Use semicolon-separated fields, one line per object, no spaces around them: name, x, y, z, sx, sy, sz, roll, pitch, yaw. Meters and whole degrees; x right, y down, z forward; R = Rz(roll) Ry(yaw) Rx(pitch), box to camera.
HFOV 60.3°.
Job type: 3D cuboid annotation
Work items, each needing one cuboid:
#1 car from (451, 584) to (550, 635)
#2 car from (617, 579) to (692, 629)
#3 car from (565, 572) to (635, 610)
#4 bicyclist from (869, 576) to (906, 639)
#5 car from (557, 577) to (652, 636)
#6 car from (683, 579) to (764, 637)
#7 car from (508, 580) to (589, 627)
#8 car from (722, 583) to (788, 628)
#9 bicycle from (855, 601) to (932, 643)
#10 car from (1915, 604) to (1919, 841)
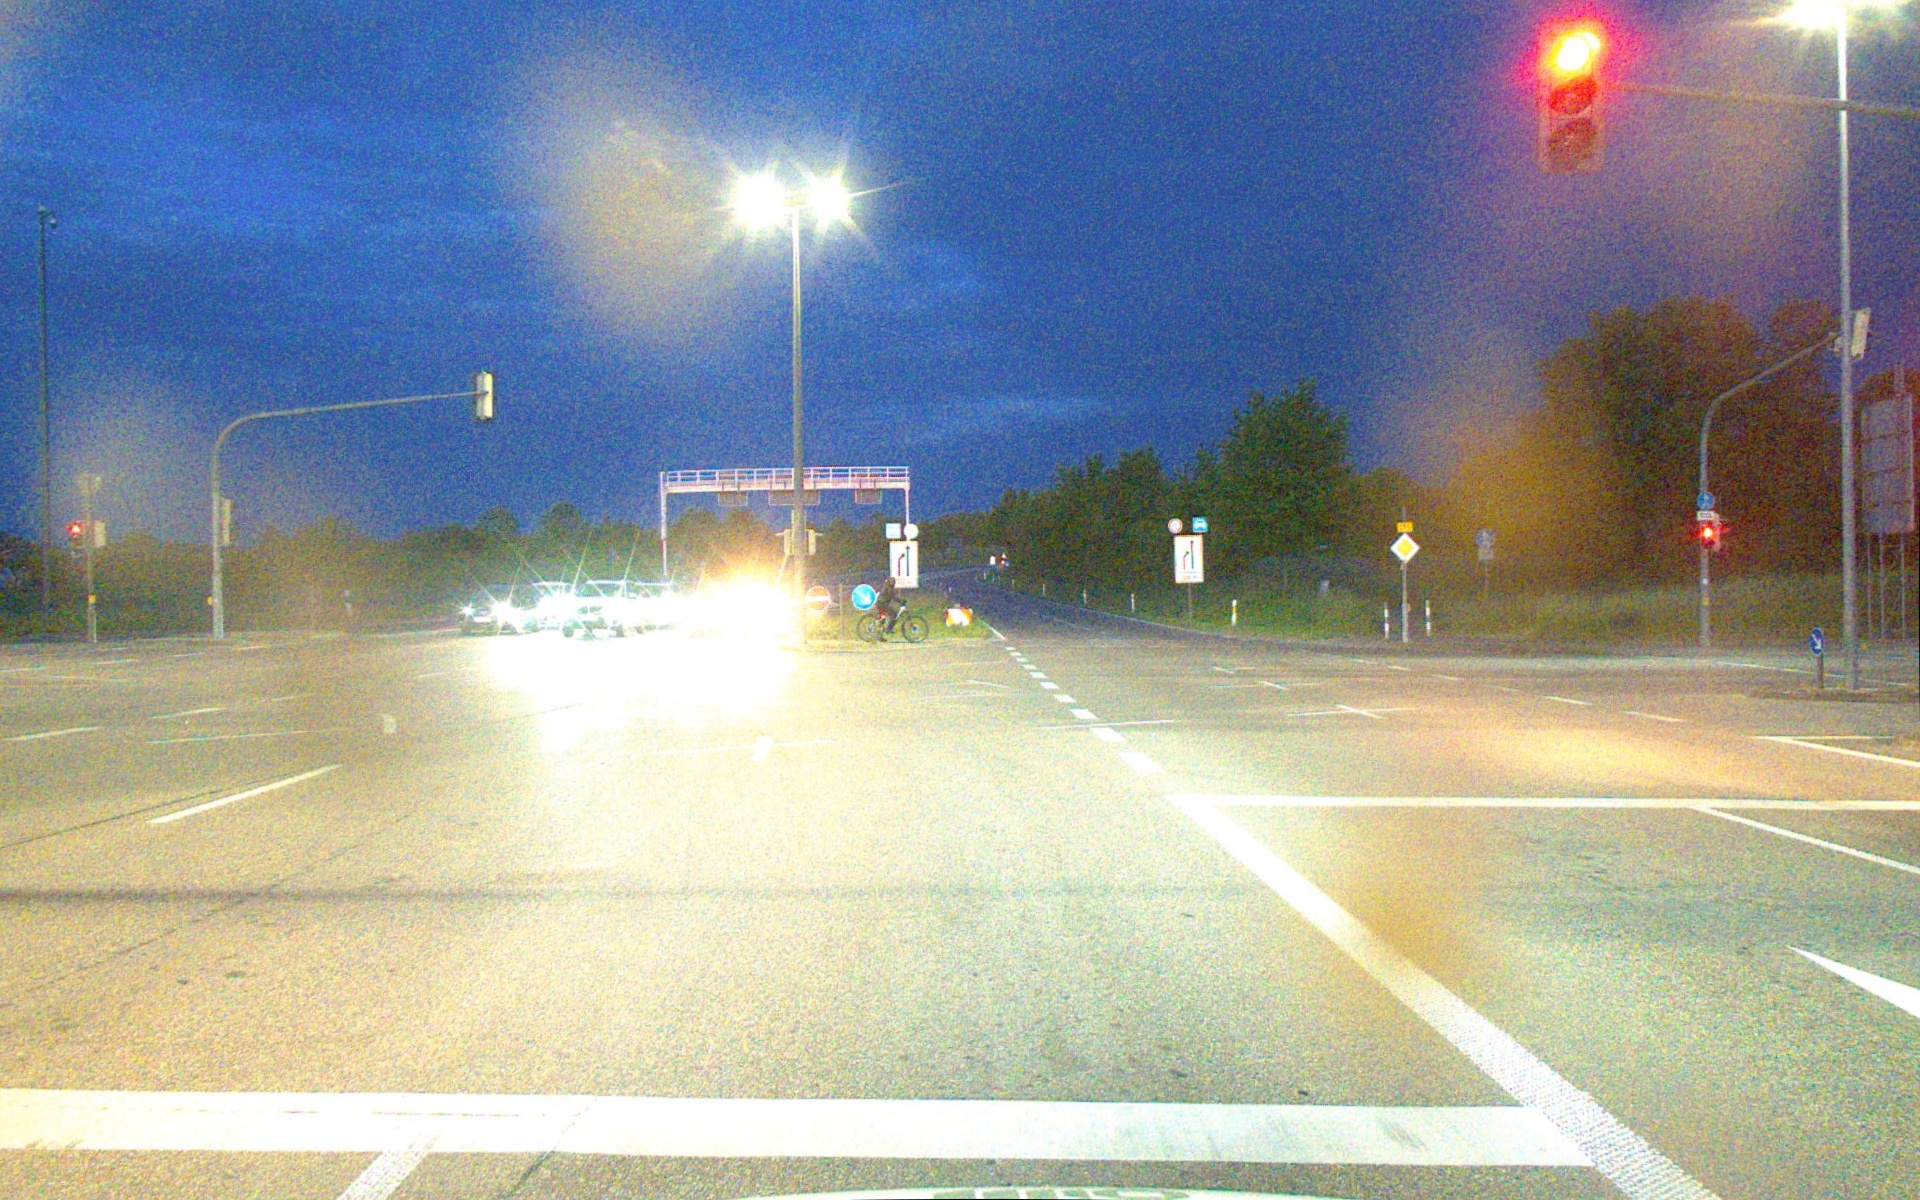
car;-14.219;0.257;51.446;1.743;1.471;4.292;1;1;2
car;-10.639;0.096;57.862;1.709;1.655;4.363;0;1;1
car;-14.208;-0.375;65.451;1.794;1.414;4.397;-1;1;0
bicyclist;-1.948;0.209;44.517;0.977;1.680;0.603;0;0;-6
car;-10.776;0.156;50.443;1.869;1.711;4.421;1;1;1
car;-7.177;0.204;50.608;1.814;1.661;4.586;0;1;0
car;-14.333;0.108;57.803;1.794;1.551;4.000;-1;1;0
car;-7.222;0.176;58.569;1.736;1.507;3.911;1;1;1
bicycle;-1.797;0.577;44.519;2.021;1.120;0.694;0;0;-6
car;6.851;0.762;8.299;1.587;1.468;4.115;0;0;-3
